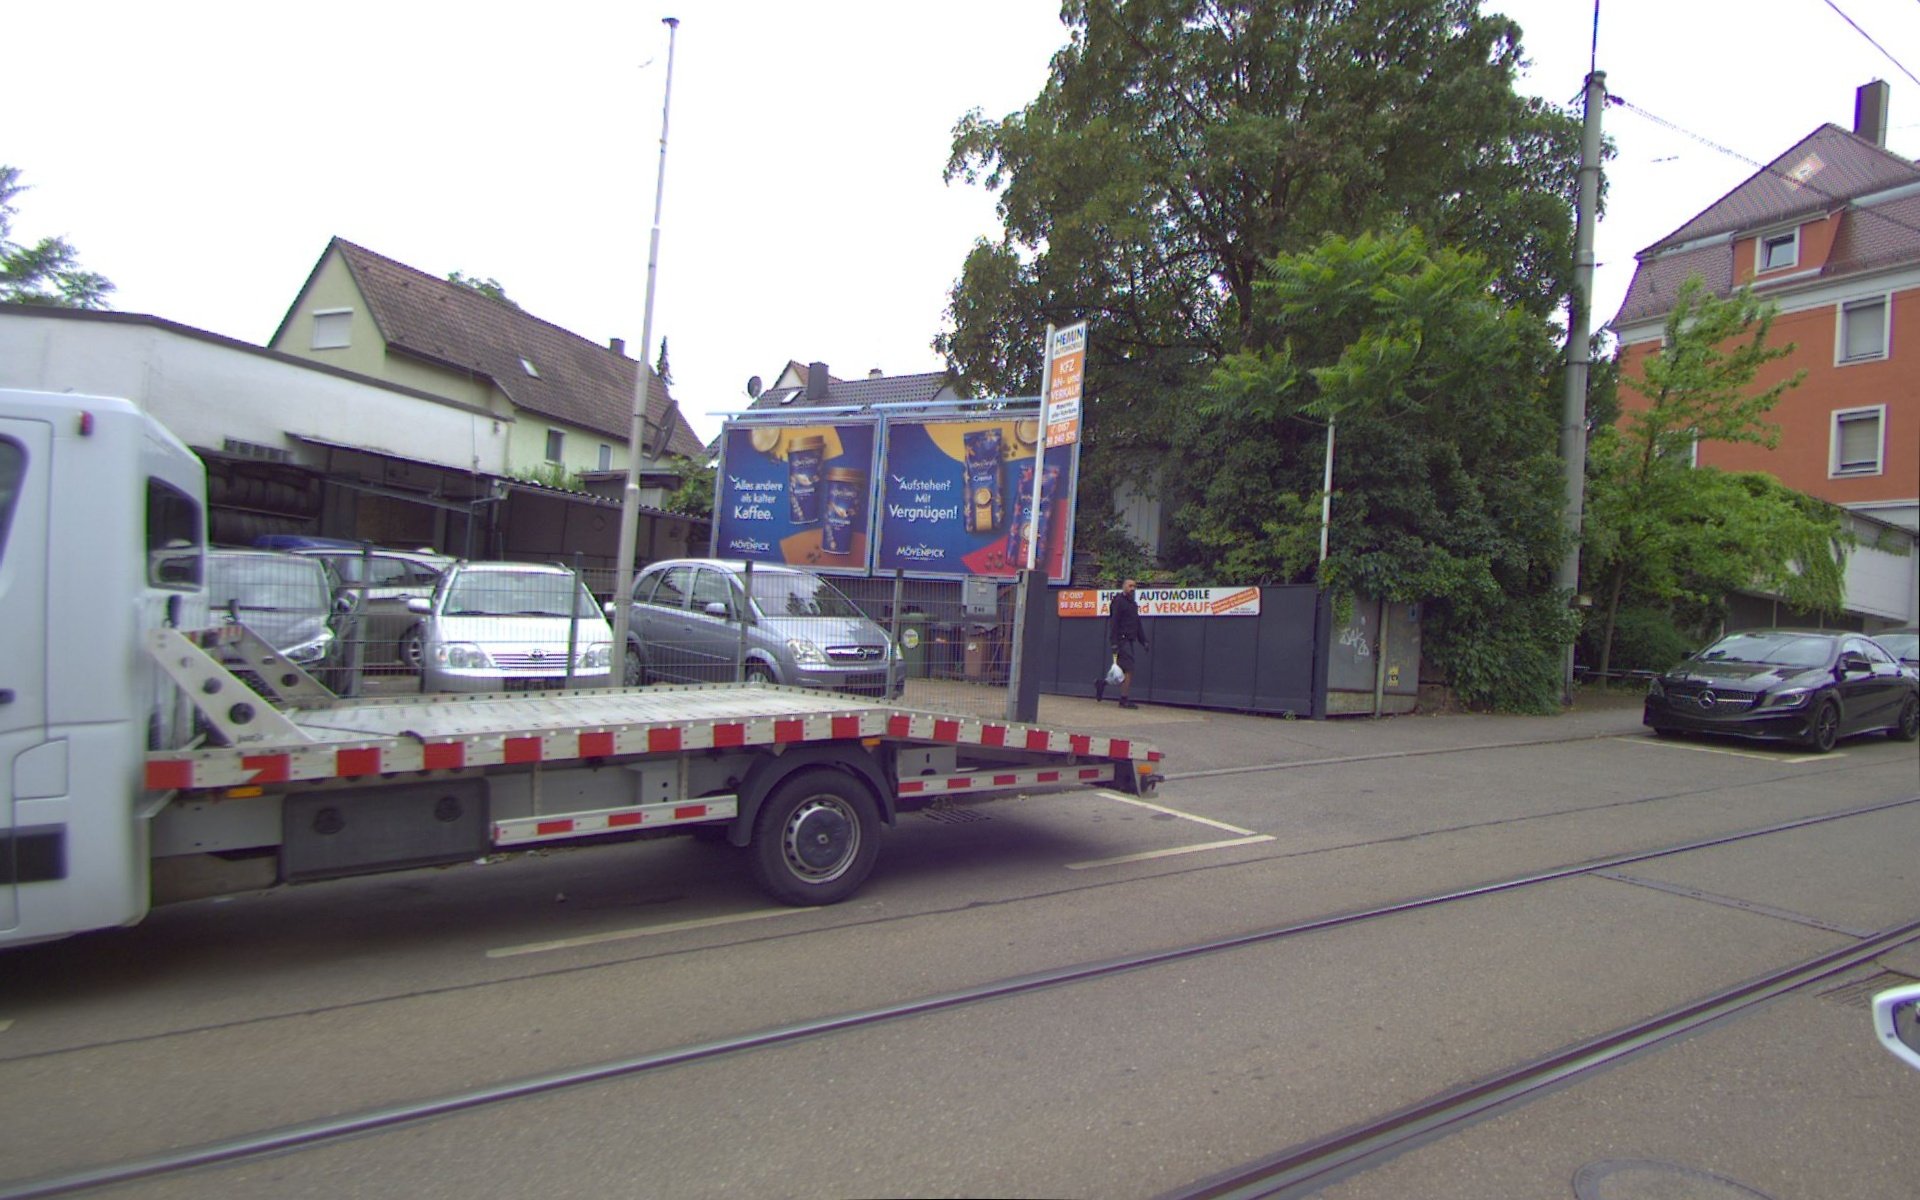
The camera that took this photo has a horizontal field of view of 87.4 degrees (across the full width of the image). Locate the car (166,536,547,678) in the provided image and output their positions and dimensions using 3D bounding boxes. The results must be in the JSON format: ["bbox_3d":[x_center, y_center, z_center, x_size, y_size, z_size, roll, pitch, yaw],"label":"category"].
[{"bbox_3d":[-7.542,0.112,12.876,3.929,1.572,1.673,2,0,-32],"label":"car"}]

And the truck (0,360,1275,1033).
[{"bbox_3d":[-2.049,0.356,5.253,7.929,2.217,2.270,2,0,-30],"label":"truck"}]

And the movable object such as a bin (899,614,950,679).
[{"bbox_3d":[-0.588,0.770,16.878,0.566,1.051,0.731,1,0,26],"label":"movable object such as a bin"}]

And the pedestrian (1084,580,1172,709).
[{"bbox_3d":[2.230,0.577,13.378,0.829,1.656,0.770,1,0,-26],"label":"pedestrian"}]

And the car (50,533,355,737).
[{"bbox_3d":[-6.370,0.235,8.867,1.668,1.375,3.857,1,0,-30],"label":"car"}]

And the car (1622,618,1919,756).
[{"bbox_3d":[10.515,1.020,12.857,4.239,1.466,1.704,2,0,-30],"label":"car"}]

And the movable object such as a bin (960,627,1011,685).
[{"bbox_3d":[0.421,0.897,16.346,0.566,0.889,0.731,1,0,26],"label":"movable object such as a bin"}]

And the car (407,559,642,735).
[{"bbox_3d":[-4.458,0.365,9.948,1.668,1.375,3.857,1,0,-30],"label":"car"}]

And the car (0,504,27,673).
[{"bbox_3d":[-8.703,-0.103,7.494,1.668,1.514,4.040,1,0,-30],"label":"car"}]

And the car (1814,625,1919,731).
[{"bbox_3d":[14.969,1.159,15.569,3.666,1.466,1.508,2,0,-30],"label":"car"}]

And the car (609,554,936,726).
[{"bbox_3d":[-2.226,0.347,11.197,1.677,1.572,3.920,1,0,-44],"label":"car"}]

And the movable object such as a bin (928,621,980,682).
[{"bbox_3d":[-0.091,0.834,16.601,0.566,0.953,0.731,1,0,26],"label":"movable object such as a bin"}]
